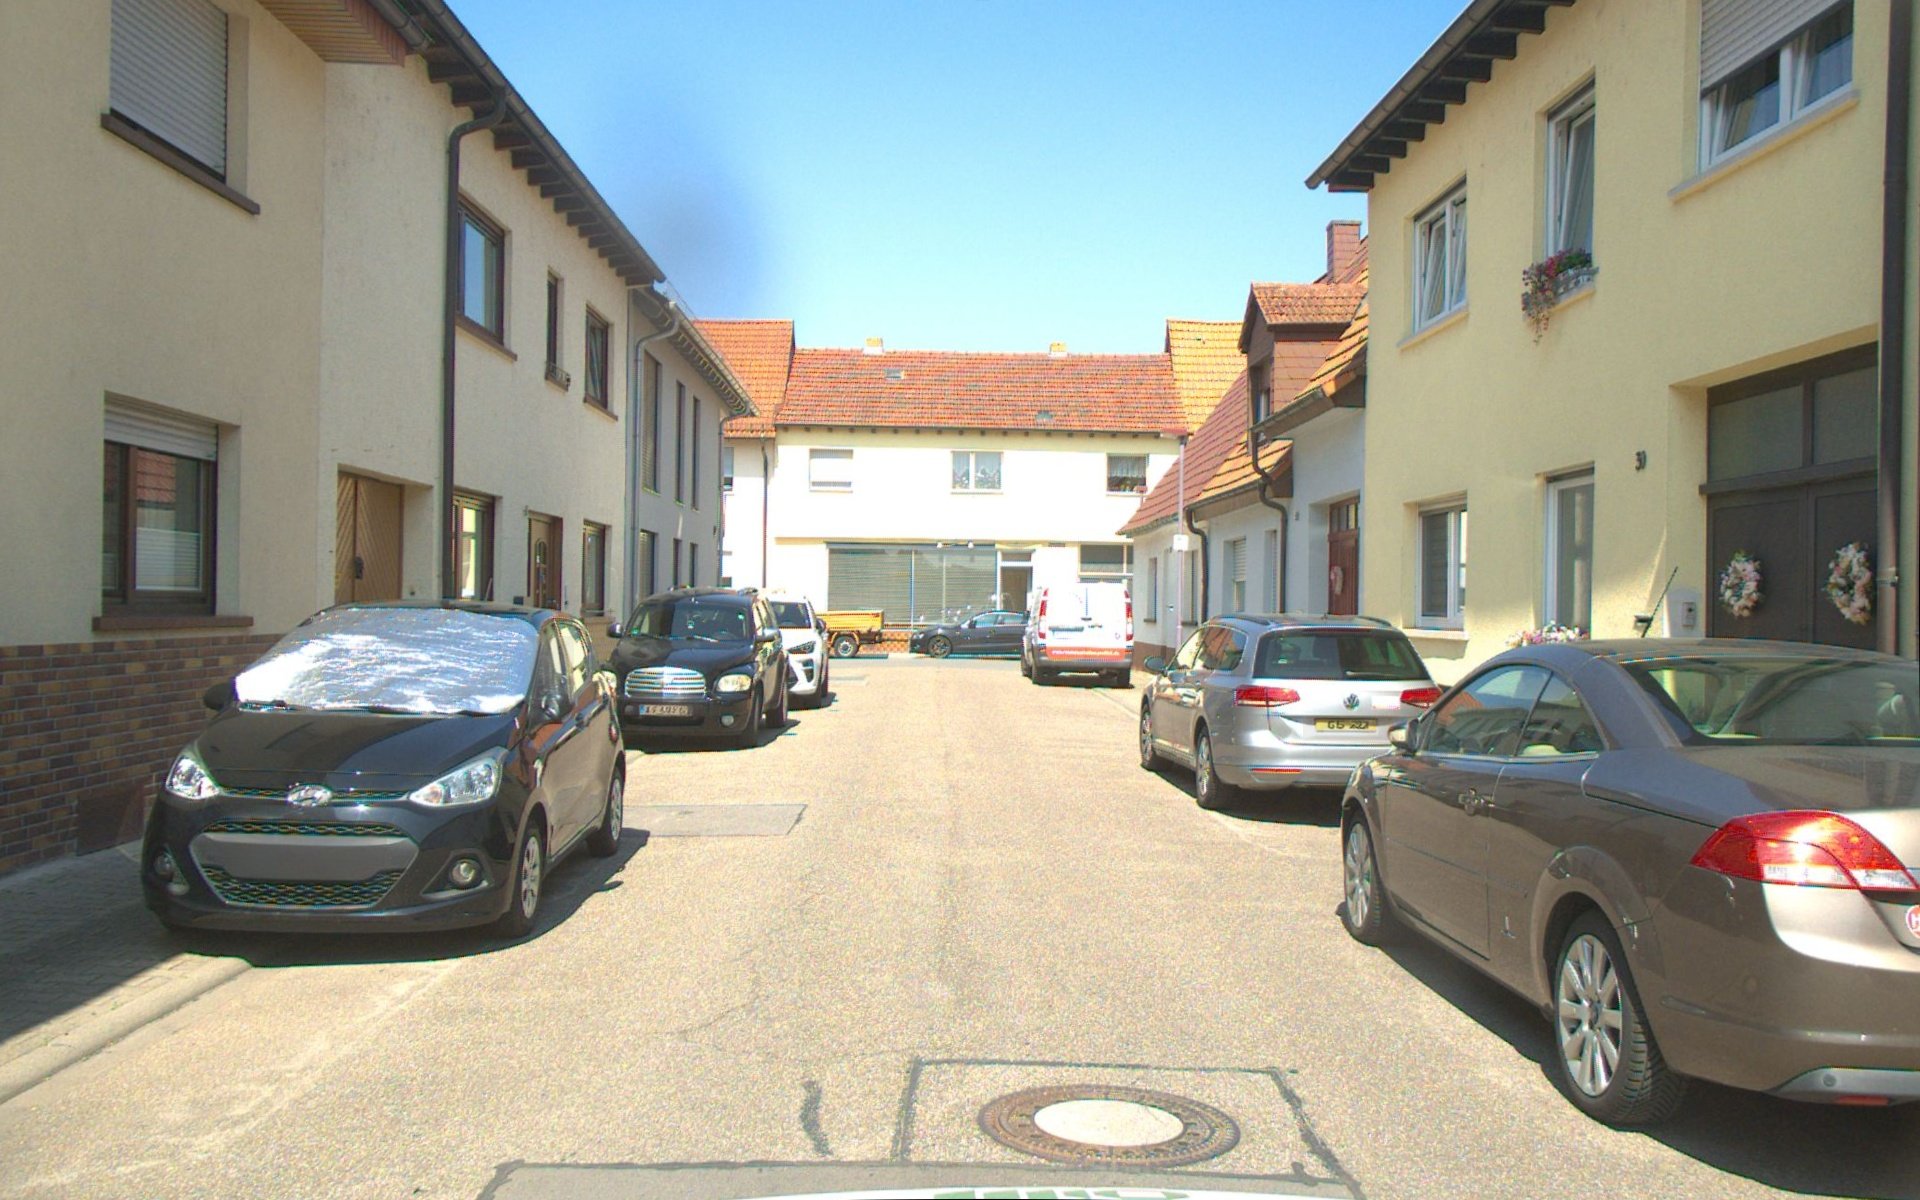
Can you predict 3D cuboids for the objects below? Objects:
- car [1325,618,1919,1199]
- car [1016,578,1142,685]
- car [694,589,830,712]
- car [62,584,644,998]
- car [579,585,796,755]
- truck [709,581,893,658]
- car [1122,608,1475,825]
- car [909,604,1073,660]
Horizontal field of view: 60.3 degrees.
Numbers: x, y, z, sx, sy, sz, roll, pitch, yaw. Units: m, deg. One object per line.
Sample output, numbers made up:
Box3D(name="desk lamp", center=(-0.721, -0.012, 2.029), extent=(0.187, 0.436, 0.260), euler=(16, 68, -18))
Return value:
Box3D(name="car", center=(2.708, 0.833, 6.057), extent=(1.663, 1.460, 4.101), euler=(2, 0, -2))
Box3D(name="car", center=(2.238, 0.588, 32.528), extent=(1.972, 1.871, 5.264), euler=(2, 0, -1))
Box3D(name="car", center=(-2.852, 0.695, 24.605), extent=(1.739, 1.643, 4.346), euler=(0, 0, -3))
Box3D(name="car", center=(-2.698, 0.739, 8.311), extent=(1.607, 1.564, 3.940), euler=(0, 0, -2))
Box3D(name="car", center=(-2.865, 0.696, 18.161), extent=(1.687, 1.643, 3.989), euler=(0, 0, 0))
Box3D(name="truck", center=(-4.430, 0.559, 46.659), extent=(4.960, 2.049, 2.189), euler=(1, -1, -1))
Box3D(name="car", center=(2.608, 0.828, 13.943), extent=(1.801, 1.473, 4.774), euler=(2, 0, -2))
Box3D(name="car", center=(0.842, 0.927, 46.840), extent=(4.524, 1.419, 1.927), euler=(1, -3, -3))
